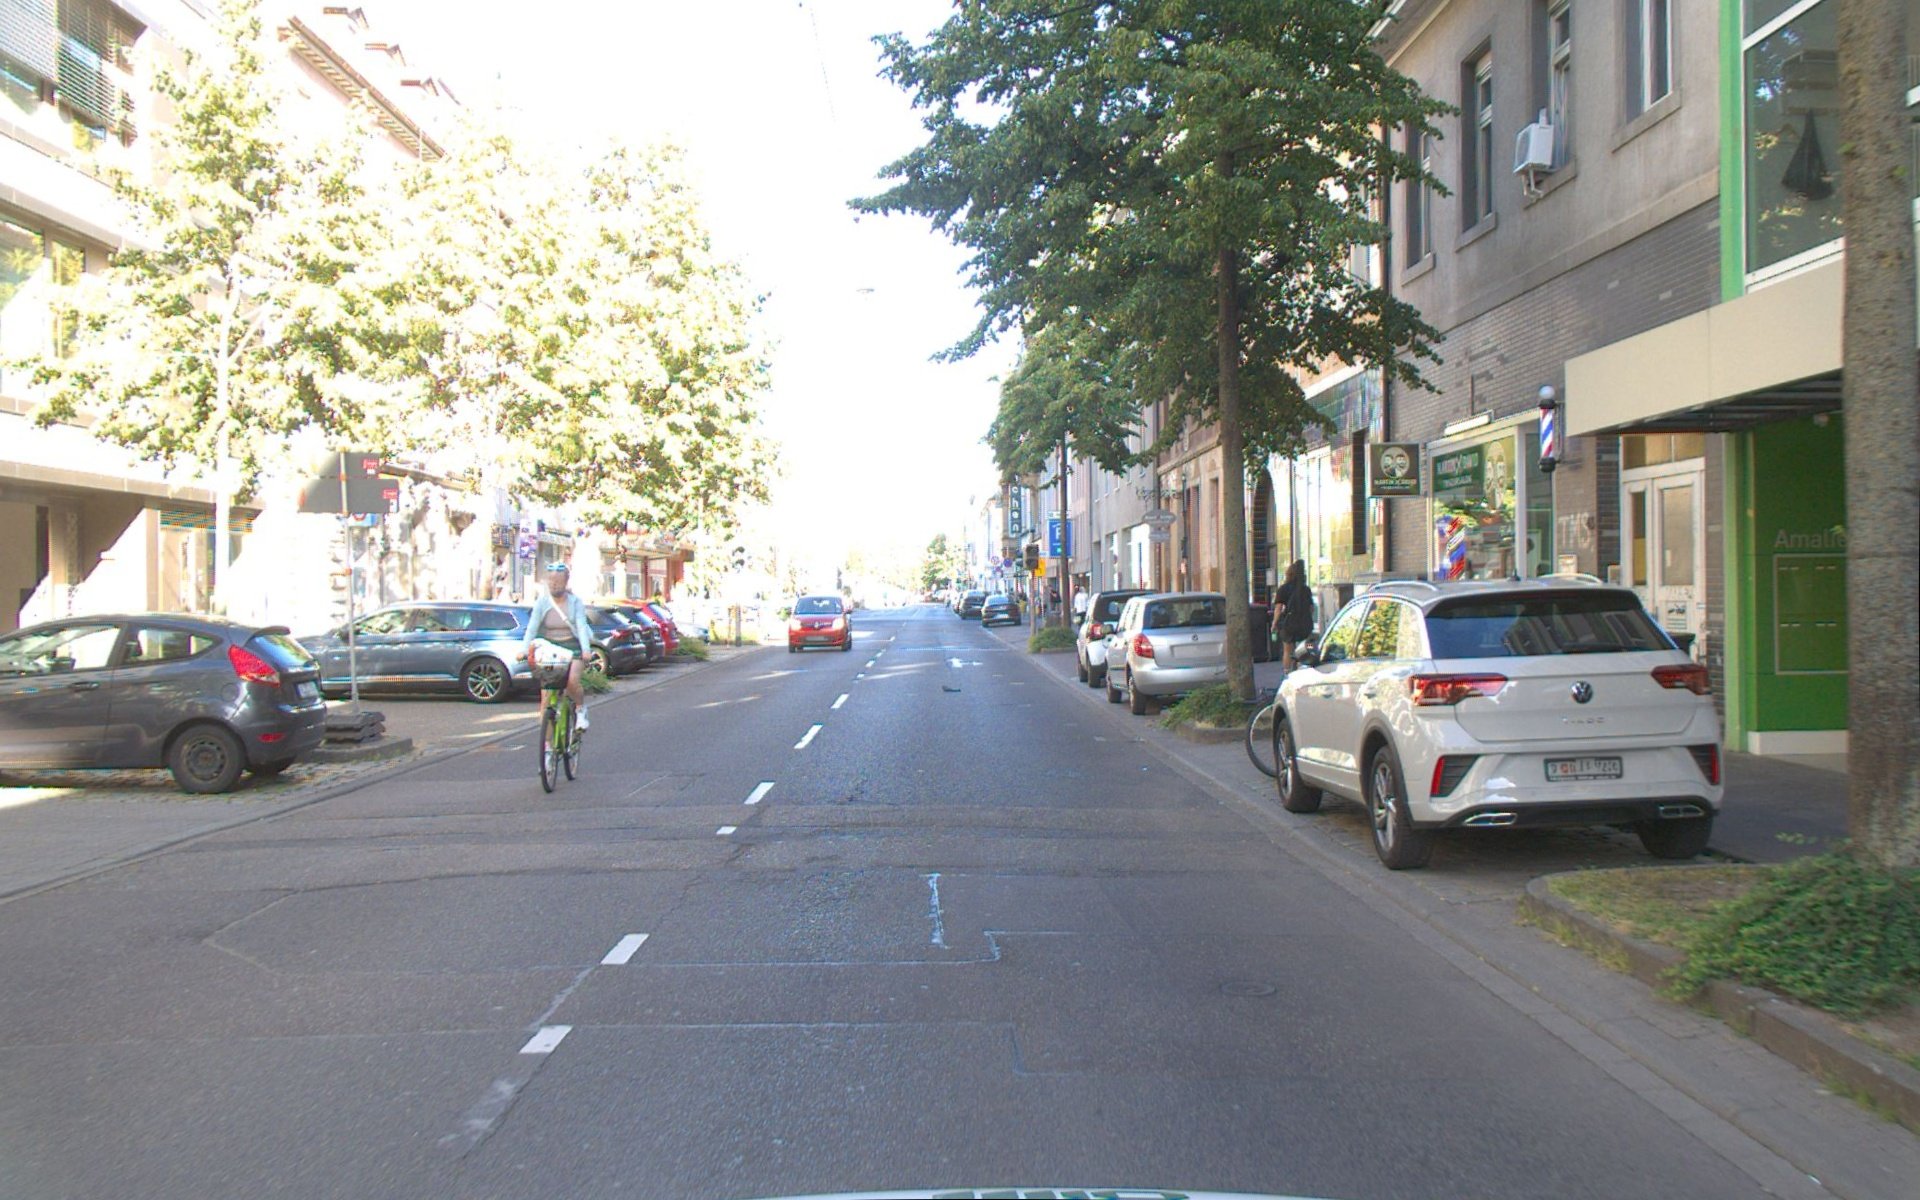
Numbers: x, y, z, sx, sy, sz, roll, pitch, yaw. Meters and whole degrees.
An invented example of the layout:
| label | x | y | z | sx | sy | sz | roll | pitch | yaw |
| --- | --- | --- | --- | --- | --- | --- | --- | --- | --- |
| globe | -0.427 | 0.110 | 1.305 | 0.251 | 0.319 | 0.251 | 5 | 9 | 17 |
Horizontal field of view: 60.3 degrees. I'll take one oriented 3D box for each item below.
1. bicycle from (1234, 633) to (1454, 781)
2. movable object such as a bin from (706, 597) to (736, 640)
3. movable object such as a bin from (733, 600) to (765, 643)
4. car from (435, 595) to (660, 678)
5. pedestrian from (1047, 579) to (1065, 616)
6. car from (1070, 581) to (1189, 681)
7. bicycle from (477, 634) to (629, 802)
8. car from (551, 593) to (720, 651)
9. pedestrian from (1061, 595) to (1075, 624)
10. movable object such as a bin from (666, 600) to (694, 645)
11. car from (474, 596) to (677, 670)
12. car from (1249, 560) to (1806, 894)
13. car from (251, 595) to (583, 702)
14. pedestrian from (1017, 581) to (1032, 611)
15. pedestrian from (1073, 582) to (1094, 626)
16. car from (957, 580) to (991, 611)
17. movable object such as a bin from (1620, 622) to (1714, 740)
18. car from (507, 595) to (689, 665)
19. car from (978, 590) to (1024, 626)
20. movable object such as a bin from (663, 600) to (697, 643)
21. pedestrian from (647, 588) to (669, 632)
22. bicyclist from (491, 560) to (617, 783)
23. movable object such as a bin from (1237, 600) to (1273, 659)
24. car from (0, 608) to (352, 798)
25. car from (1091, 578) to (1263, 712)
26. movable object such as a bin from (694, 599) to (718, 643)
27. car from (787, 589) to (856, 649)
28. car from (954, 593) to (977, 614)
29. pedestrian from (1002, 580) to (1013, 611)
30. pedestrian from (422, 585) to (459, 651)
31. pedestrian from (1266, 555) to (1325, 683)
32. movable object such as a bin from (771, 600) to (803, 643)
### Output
| label | x | y | z | sx | sy | sz | roll | pitch | yaw |
| --- | --- | --- | --- | --- | --- | --- | --- | --- | --- |
| bicycle | 3.151 | 0.865 | 13.640 | 1.590 | 1.030 | 0.611 | -5 | 0 | -3 |
| movable object such as a bin | -8.500 | 0.666 | 58.848 | 0.944 | 1.497 | 1.143 | -1 | 0 | -2 |
| movable object such as a bin | -7.501 | 0.755 | 58.835 | 1.021 | 1.497 | 1.143 | -1 | 0 | -2 |
| car | -7.808 | 0.670 | 31.546 | 3.838 | 1.511 | 1.771 | 0 | 0 | 0 |
| pedestrian | 4.484 | -0.129 | 77.264 | 0.678 | 1.664 | 0.889 | -3 | 0 | -2 |
| car | 2.852 | 0.494 | 28.387 | 1.581 | 1.555 | 3.059 | -2 | 0 | -2 |
| bicycle | -3.285 | 0.912 | 13.557 | 0.710 | 1.189 | 2.197 | 0 | 0 | -1 |
| car | -8.585 | 0.580 | 44.004 | 4.116 | 1.494 | 1.740 | 0 | 0 | 1 |
| pedestrian | 3.996 | 0.334 | 61.323 | 0.385 | 1.051 | 0.739 | -3 | 0 | -2 |
| movable object such as a bin | -8.758 | 0.691 | 51.693 | 0.739 | 1.364 | 0.805 | -1 | 0 | -2 |
| car | -7.890 | 0.662 | 34.185 | 3.762 | 1.454 | 1.789 | 0 | 0 | 0 |
| car | 3.172 | 0.609 | 10.268 | 1.845 | 1.553 | 4.232 | -3 | 0 | -2 |
| car | -8.094 | 0.706 | 24.964 | 4.403 | 1.484 | 1.789 | 1 | 0 | -3 |
| pedestrian | 3.697 | -0.226 | 95.173 | 0.784 | 1.704 | 0.589 | -2 | 0 | 1 |
| pedestrian | 4.556 | 0.132 | 61.212 | 0.569 | 1.586 | 1.020 | -3 | 0 | -2 |
| car | 0.800 | -0.262 | 97.851 | 1.933 | 1.755 | 4.823 | 1 | 0 | -1 |
| movable object such as a bin | 6.079 | 0.686 | 14.243 | 0.512 | 0.973 | 0.655 | -1 | 0 | 0 |
| car | -7.993 | 0.654 | 36.717 | 3.672 | 1.494 | 1.739 | 0 | 0 | -2 |
| car | 1.905 | 0.347 | 78.279 | 1.879 | 1.504 | 4.963 | -4 | 0 | -1 |
| movable object such as a bin | -9.962 | 0.753 | 58.805 | 1.021 | 1.497 | 1.143 | -1 | 0 | -2 |
| pedestrian | -11.692 | 0.370 | 64.043 | 0.651 | 1.688 | 1.036 | -1 | 0 | -2 |
| bicyclist | -3.289 | 0.548 | 13.502 | 0.710 | 1.730 | 1.282 | 0 | 0 | -1 |
| movable object such as a bin | 5.542 | 0.551 | 31.093 | 0.511 | 1.058 | 0.722 | -3 | 0 | 0 |
| car | -7.331 | 0.829 | 14.126 | 3.710 | 1.484 | 1.777 | 0 | 0 | -9 |
| car | 2.868 | 0.548 | 22.654 | 1.581 | 1.555 | 4.233 | -4 | 0 | -2 |
| movable object such as a bin | -7.940 | 0.661 | 51.777 | 0.621 | 1.364 | 0.805 | -1 | 0 | -2 |
| car | -3.844 | 0.513 | 46.518 | 1.624 | 1.562 | 3.760 | -2 | 0 | -1 |
| car | 0.437 | 0.290 | 133.927 | 1.682 | 1.664 | 4.082 | 1 | -1 | -3 |
| pedestrian | 2.745 | -0.264 | 95.339 | 0.607 | 1.797 | 0.518 | 0 | 0 | 1 |
| pedestrian | -11.403 | 0.383 | 36.312 | 0.497 | 1.433 | 0.825 | 1 | 1 | 3 |
| pedestrian | 4.859 | 0.273 | 24.003 | 0.610 | 1.796 | 0.771 | -3 | 0 | 0 |
| movable object such as a bin | -6.174 | 0.754 | 58.959 | 1.021 | 1.497 | 1.452 | -1 | 0 | -2 |
